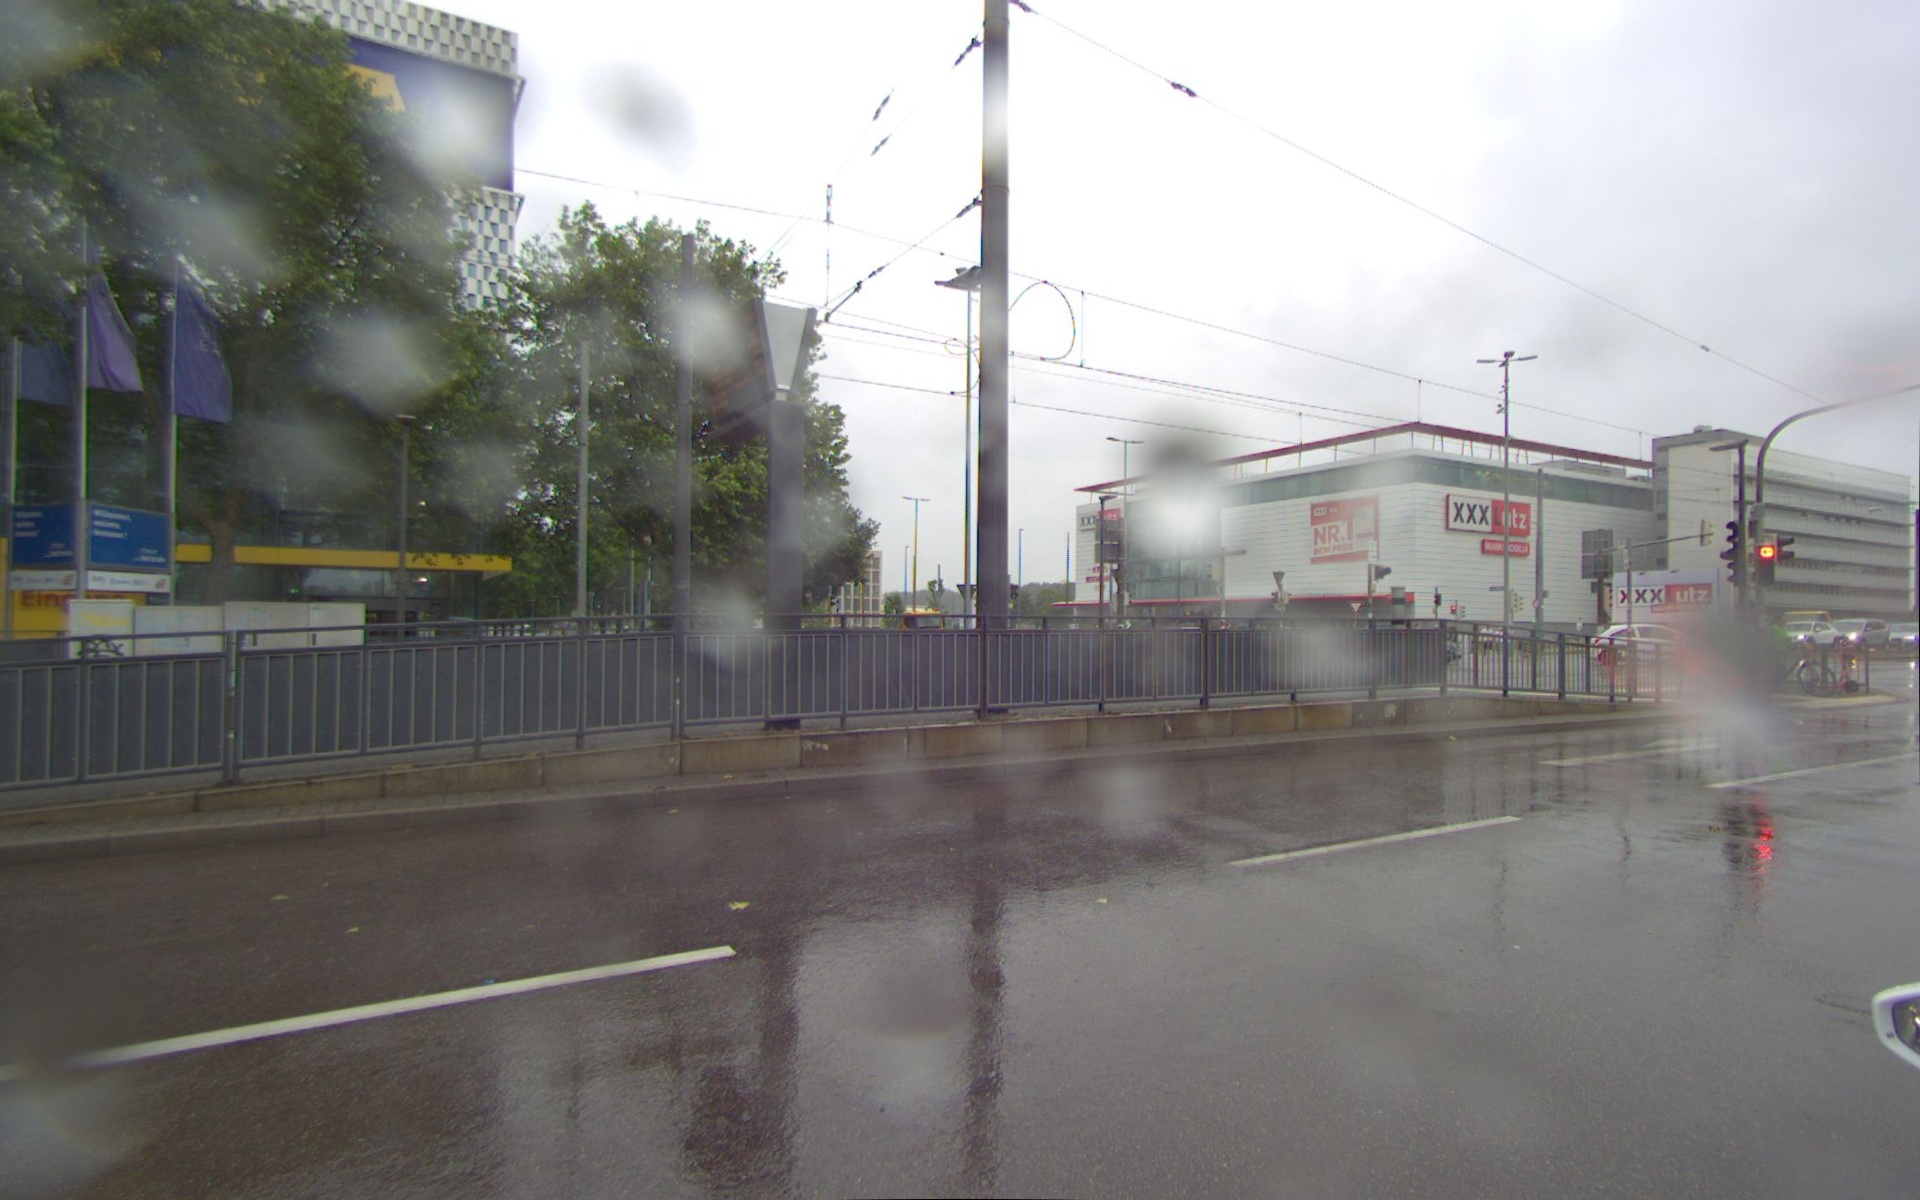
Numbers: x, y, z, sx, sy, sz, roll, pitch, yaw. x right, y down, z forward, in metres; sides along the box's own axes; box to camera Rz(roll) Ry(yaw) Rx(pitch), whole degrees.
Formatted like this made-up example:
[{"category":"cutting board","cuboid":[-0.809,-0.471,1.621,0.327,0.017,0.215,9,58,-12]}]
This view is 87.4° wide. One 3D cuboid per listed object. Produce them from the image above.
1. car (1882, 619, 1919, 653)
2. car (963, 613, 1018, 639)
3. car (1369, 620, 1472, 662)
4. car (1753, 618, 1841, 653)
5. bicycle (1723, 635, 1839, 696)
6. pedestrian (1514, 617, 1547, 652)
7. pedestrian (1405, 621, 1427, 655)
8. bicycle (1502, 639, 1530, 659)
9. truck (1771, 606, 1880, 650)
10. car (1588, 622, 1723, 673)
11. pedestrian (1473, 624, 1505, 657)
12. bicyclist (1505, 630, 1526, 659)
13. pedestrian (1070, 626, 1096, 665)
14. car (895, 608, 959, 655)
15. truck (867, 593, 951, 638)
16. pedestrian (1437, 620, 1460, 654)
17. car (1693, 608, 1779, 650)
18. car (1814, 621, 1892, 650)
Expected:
[{"category":"car","cuboid":[51.367,1.953,53.609,3.947,1.722,1.886,2,0,-26]},{"category":"car","cuboid":[2.165,1.825,70.208,3.723,1.645,2.001,2,0,2]},{"category":"car","cuboid":[17.752,1.563,38.837,1.455,1.441,3.319,2,0,-39]},{"category":"car","cuboid":[39.722,1.680,47.667,3.823,1.512,1.693,2,0,-25]},{"category":"bicycle","cuboid":[16.719,1.314,20.494,0.409,1.048,1.742,2,3,-31]},{"category":"pedestrian","cuboid":[27.462,1.651,48.350,0.996,1.654,0.917,2,0,-19]},{"category":"pedestrian","cuboid":[23.268,1.932,51.240,0.914,1.654,0.694,2,0,-42]},{"category":"bicycle","cuboid":[28.346,2.490,51.188,1.688,1.000,0.448,2,0,-30]},{"category":"truck","cuboid":[49.400,1.635,57.272,7.542,2.309,2.341,2,0,-30]},{"category":"car","cuboid":[23.581,1.560,34.193,3.652,1.523,1.615,2,0,34]},{"category":"pedestrian","cuboid":[28.189,2.154,53.547,1.064,1.654,1.026,2,0,-4]},{"category":"bicyclist","cuboid":[28.319,2.263,51.186,0.639,1.483,0.681,2,0,-29]},{"category":"pedestrian","cuboid":[5.018,1.851,40.997,0.863,1.557,0.560,2,0,-31]},{"category":"car","cuboid":[-1.623,1.452,47.652,1.969,2.040,3.984,2,0,-18]},{"category":"truck","cuboid":[-3.538,1.002,67.689,2.612,2.853,7.084,2,0,-31]},{"category":"pedestrian","cuboid":[24.317,1.840,49.983,0.914,1.654,0.694,2,0,-42]},{"category":"car","cuboid":[40.398,1.516,52.295,3.947,2.040,1.987,2,0,-26]},{"category":"car","cuboid":[44.897,1.782,50.511,3.780,1.354,1.582,2,0,-26]}]
